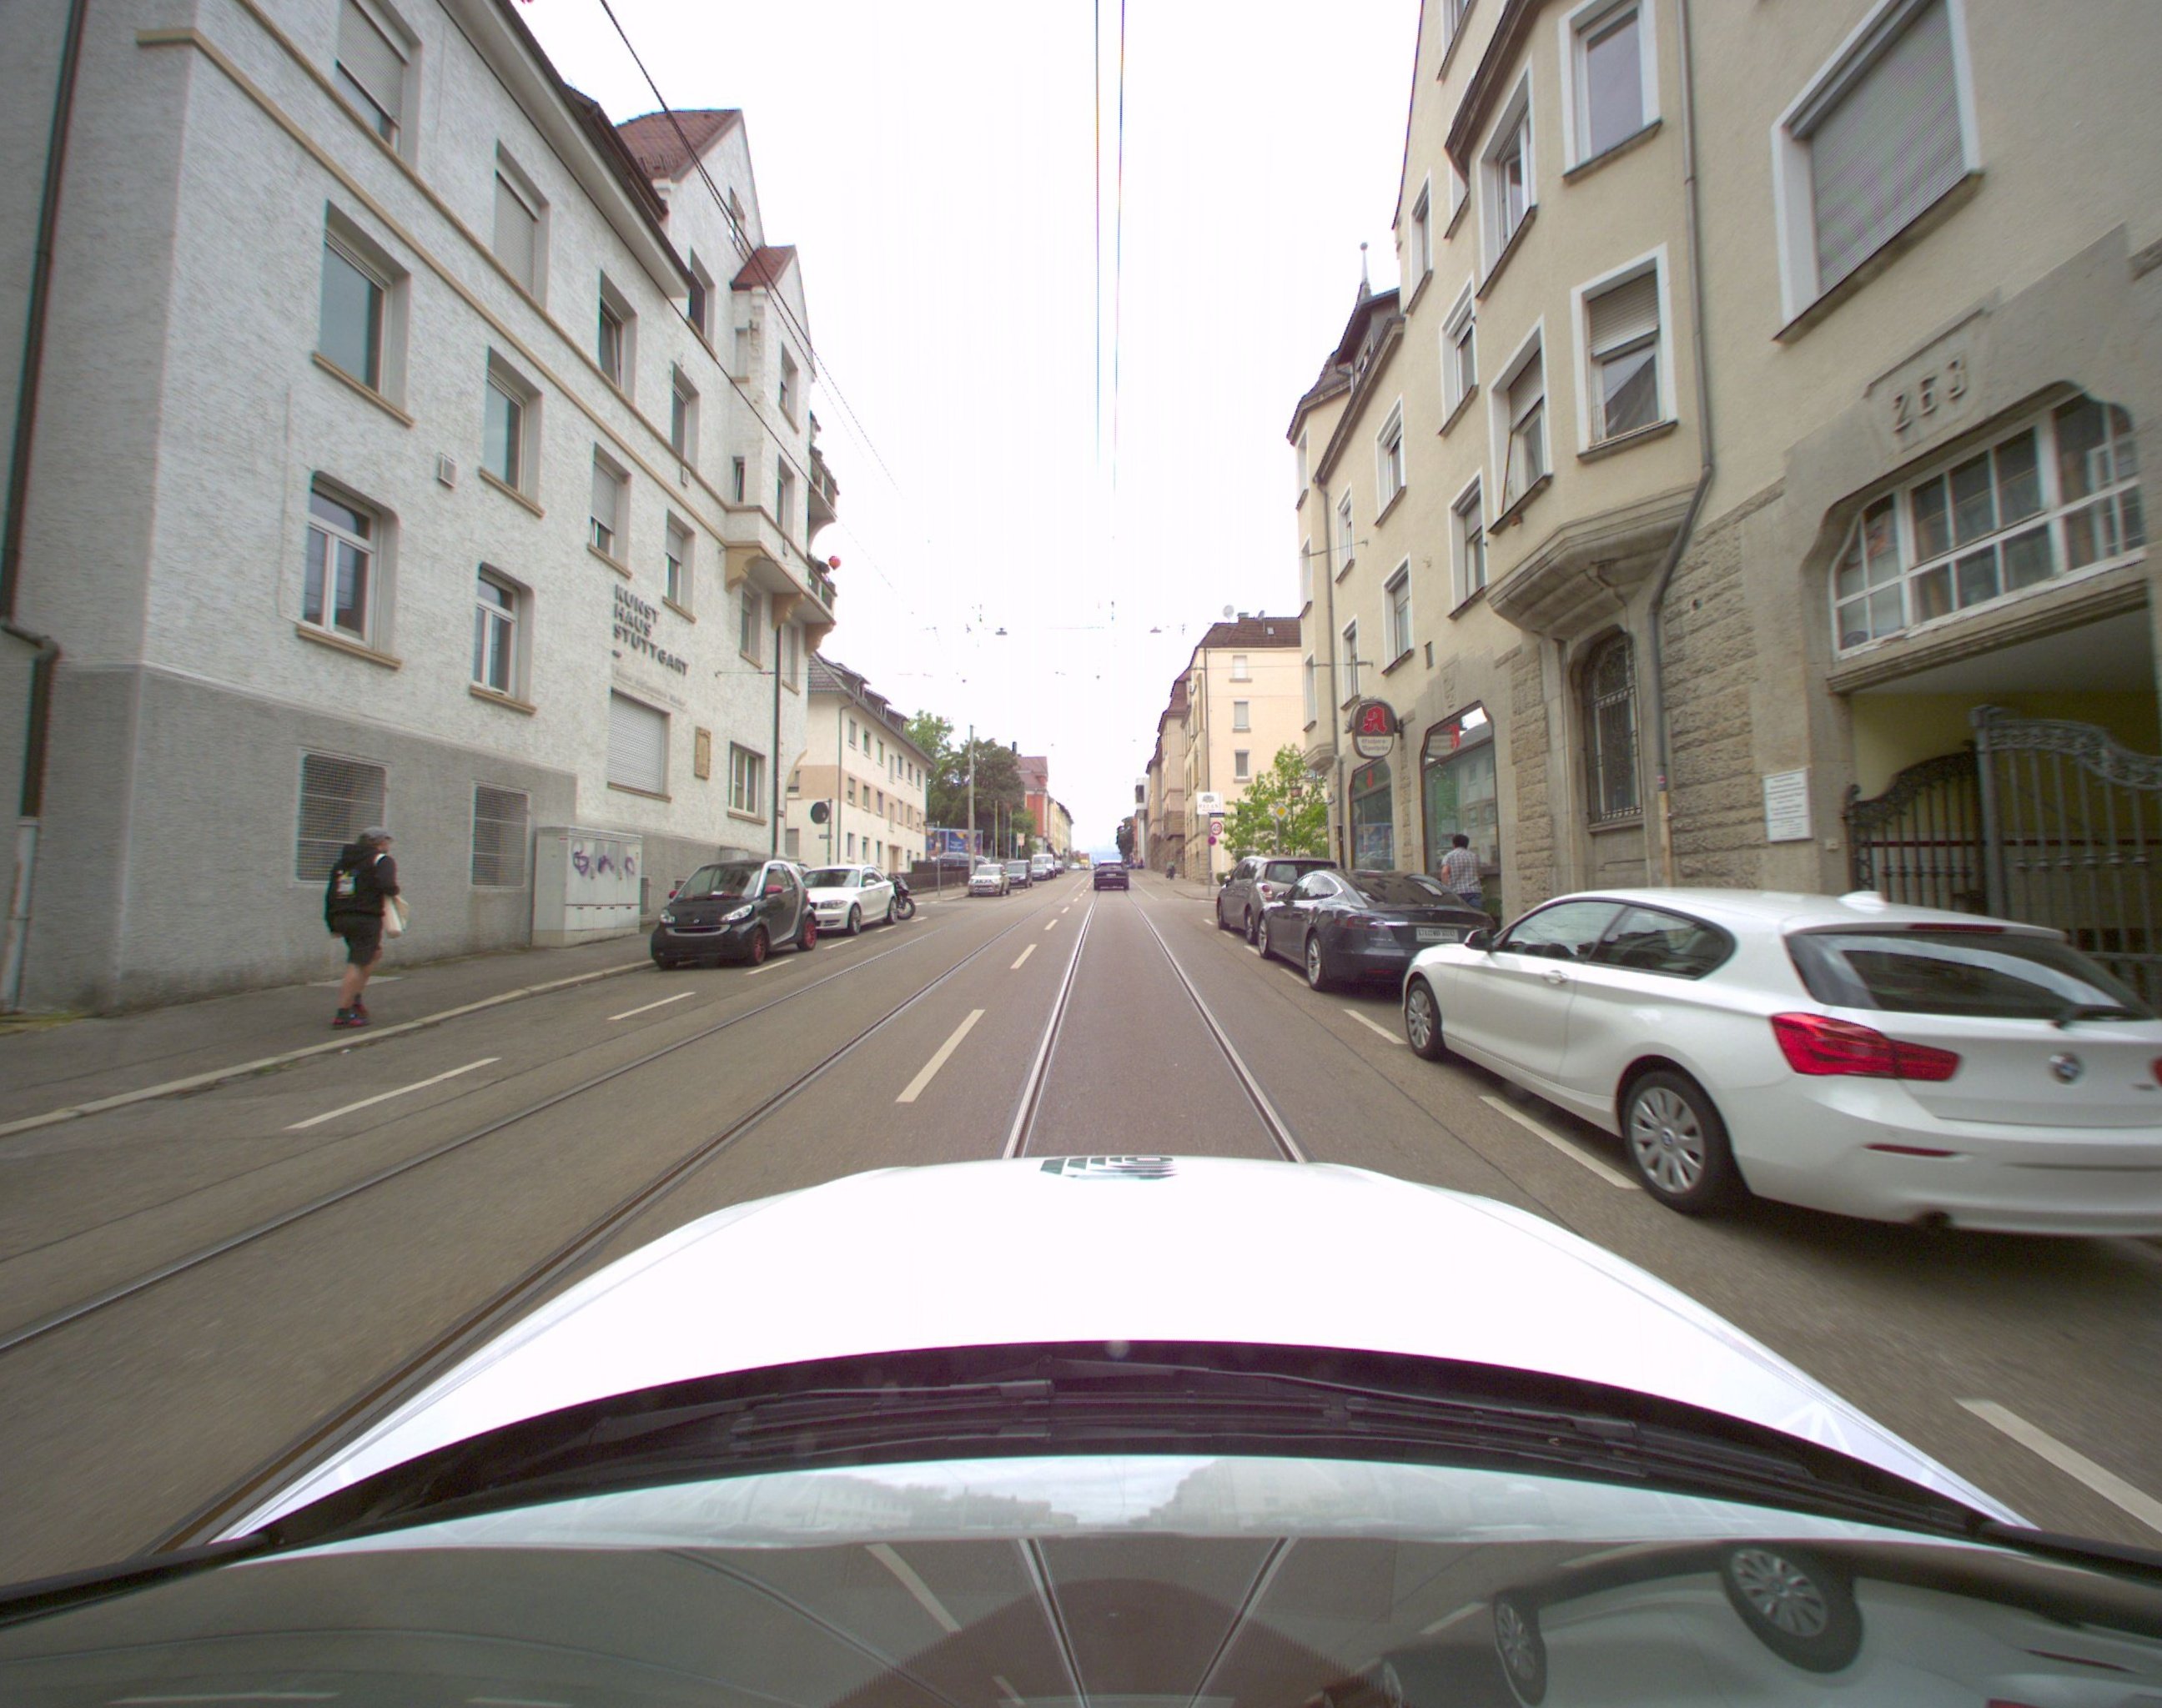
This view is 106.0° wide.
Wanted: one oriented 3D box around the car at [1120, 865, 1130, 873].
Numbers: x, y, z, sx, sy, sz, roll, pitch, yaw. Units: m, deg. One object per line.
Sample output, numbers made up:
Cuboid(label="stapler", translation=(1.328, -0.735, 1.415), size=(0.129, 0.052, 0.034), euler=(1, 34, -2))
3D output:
Cuboid(label="car", translation=(8.757, 3.039, 162.603), size=(1.986, 1.563, 4.292), euler=(-1, 0, 2))

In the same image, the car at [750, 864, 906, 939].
Cuboid(label="car", translation=(-5.239, 0.921, 17.505), size=(1.772, 1.357, 4.295), euler=(-1, 0, 3))

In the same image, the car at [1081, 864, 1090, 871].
Cuboid(label="car", translation=(1.090, 2.934, 177.372), size=(1.848, 1.607, 4.298), euler=(-1, 0, 2))

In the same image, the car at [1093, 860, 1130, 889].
Cuboid(label="car", translation=(1.755, 1.164, 46.853), size=(1.986, 1.563, 4.292), euler=(-1, 0, 2))

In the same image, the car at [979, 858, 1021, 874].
Cuboid(label="car", translation=(-8.050, 1.141, 80.467), size=(3.964, 1.551, 1.680), euler=(0, -1, -13))

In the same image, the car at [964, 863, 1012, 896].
Cuboid(label="car", translation=(-4.537, 1.216, 40.315), size=(1.689, 1.556, 3.853), euler=(-1, 0, 3))

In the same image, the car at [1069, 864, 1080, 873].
Cuboid(label="car", translation=(-1.182, 2.510, 144.662), size=(1.848, 1.607, 4.298), euler=(-1, 0, 2))

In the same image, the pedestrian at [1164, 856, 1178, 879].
Cuboid(label="pedestrian", translation=(6.876, 1.049, 62.285), size=(0.867, 1.686, 0.663), euler=(-2, -1, 0))

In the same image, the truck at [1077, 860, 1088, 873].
Cuboid(label="truck", translation=(0.442, 3.062, 197.778), size=(2.294, 3.037, 9.036), euler=(0, -1, 2))

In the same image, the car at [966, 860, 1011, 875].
Cuboid(label="car", translation=(-8.450, 1.233, 74.572), size=(3.862, 1.357, 1.688), euler=(0, -1, 1))

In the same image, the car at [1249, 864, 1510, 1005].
Cuboid(label="car", translation=(3.576, 0.867, 10.778), size=(1.773, 1.390, 4.692), euler=(1, 0, 1))

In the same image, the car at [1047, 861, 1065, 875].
Cuboid(label="car", translation=(-2.821, 1.558, 91.646), size=(1.705, 1.446, 4.292), euler=(-1, 0, 2))

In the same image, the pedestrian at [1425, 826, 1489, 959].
Cuboid(label="pedestrian", translation=(5.261, 0.529, 11.437), size=(0.597, 1.803, 0.632), euler=(0, -1, 1))

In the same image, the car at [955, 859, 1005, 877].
Cuboid(label="car", translation=(-8.621, 1.210, 70.031), size=(4.046, 1.445, 1.688), euler=(0, -1, 1))

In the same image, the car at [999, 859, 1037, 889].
Cuboid(label="car", translation=(-3.918, 1.242, 51.238), size=(1.736, 1.736, 4.523), euler=(-3, -1, 3))

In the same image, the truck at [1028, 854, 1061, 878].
Cuboid(label="truck", translation=(-3.358, 1.102, 76.546), size=(2.271, 2.188, 8.030), euler=(-1, 0, 3))

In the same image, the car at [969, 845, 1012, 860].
Cuboid(label="car", translation=(-8.535, -0.133, 77.234), size=(3.862, 1.357, 1.688), euler=(0, -1, 1))

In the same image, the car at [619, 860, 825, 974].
Cuboid(label="car", translation=(-5.371, 0.875, 12.613), size=(1.690, 1.468, 3.025), euler=(-3, -1, 2))

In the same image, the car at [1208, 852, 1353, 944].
Cuboid(label="car", translation=(3.779, 0.772, 16.245), size=(1.729, 1.537, 4.572), euler=(1, 0, 0))

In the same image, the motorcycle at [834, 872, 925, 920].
Cuboid(label="motorcycle", translation=(-5.147, 1.074, 20.827), size=(2.093, 1.134, 0.769), euler=(-2, 0, 15))

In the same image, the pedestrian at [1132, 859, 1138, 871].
Cuboid(label="pedestrian", translation=(7.843, 1.588, 118.898), size=(0.788, 1.667, 0.799), euler=(-1, -1, 4))

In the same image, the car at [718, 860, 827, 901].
Cuboid(label="car", translation=(-12.159, 1.067, 32.256), size=(3.500, 1.493, 1.777), euler=(0, -6, 2))

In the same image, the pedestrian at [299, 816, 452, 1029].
Cuboid(label="pedestrian", translation=(-6.774, 0.633, 7.864), size=(0.587, 1.906, 0.811), euler=(4, -1, 1))

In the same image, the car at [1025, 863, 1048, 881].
Cuboid(label="car", translation=(-3.766, 1.491, 69.560), size=(1.691, 1.433, 4.481), euler=(-3, 0, 0))

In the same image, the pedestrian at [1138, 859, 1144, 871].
Cuboid(label="pedestrian", translation=(8.794, 1.570, 118.853), size=(0.788, 1.667, 0.799), euler=(-1, -1, 4))

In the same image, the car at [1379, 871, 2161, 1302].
Cuboid(label="car", translation=(3.451, 0.845, 4.947), size=(1.744, 1.390, 4.307), euler=(1, 0, 1))
